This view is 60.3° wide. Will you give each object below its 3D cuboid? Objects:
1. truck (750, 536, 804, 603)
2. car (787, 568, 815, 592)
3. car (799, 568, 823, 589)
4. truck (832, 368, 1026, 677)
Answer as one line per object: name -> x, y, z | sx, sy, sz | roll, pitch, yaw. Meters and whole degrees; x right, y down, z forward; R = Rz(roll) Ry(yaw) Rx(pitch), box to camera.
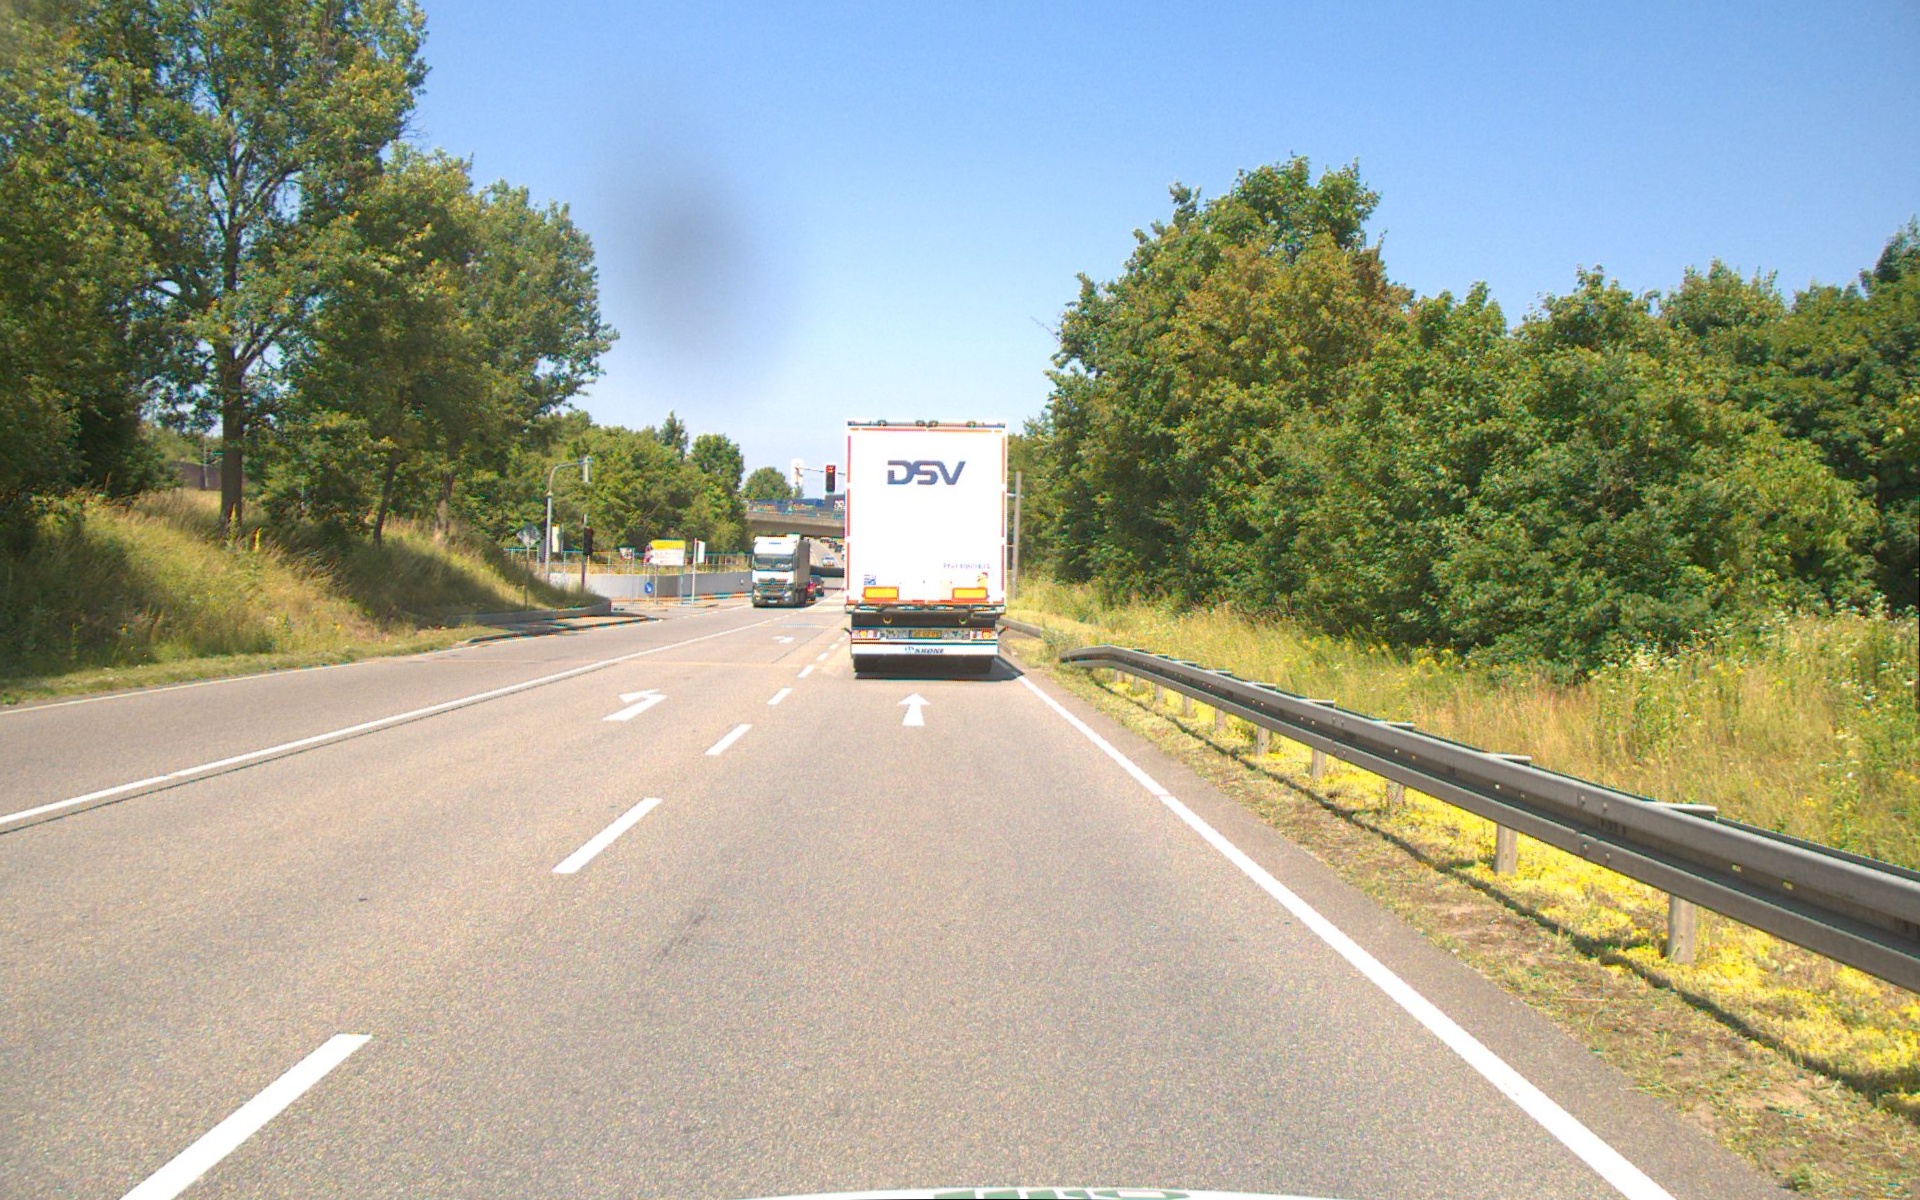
truck -> -11.056, -1.881, 100.841 | 2.306, 3.815, 12.621 | 1, 1, -2
car -> -11.350, -1.430, 118.136 | 1.712, 1.654, 3.702 | 1, 1, -2
car -> -12.140, -1.753, 134.850 | 1.712, 1.654, 3.702 | 1, 1, -2
truck -> -0.688, -1.225, 30.026 | 2.891, 4.648, 9.858 | 1, 1, -3
